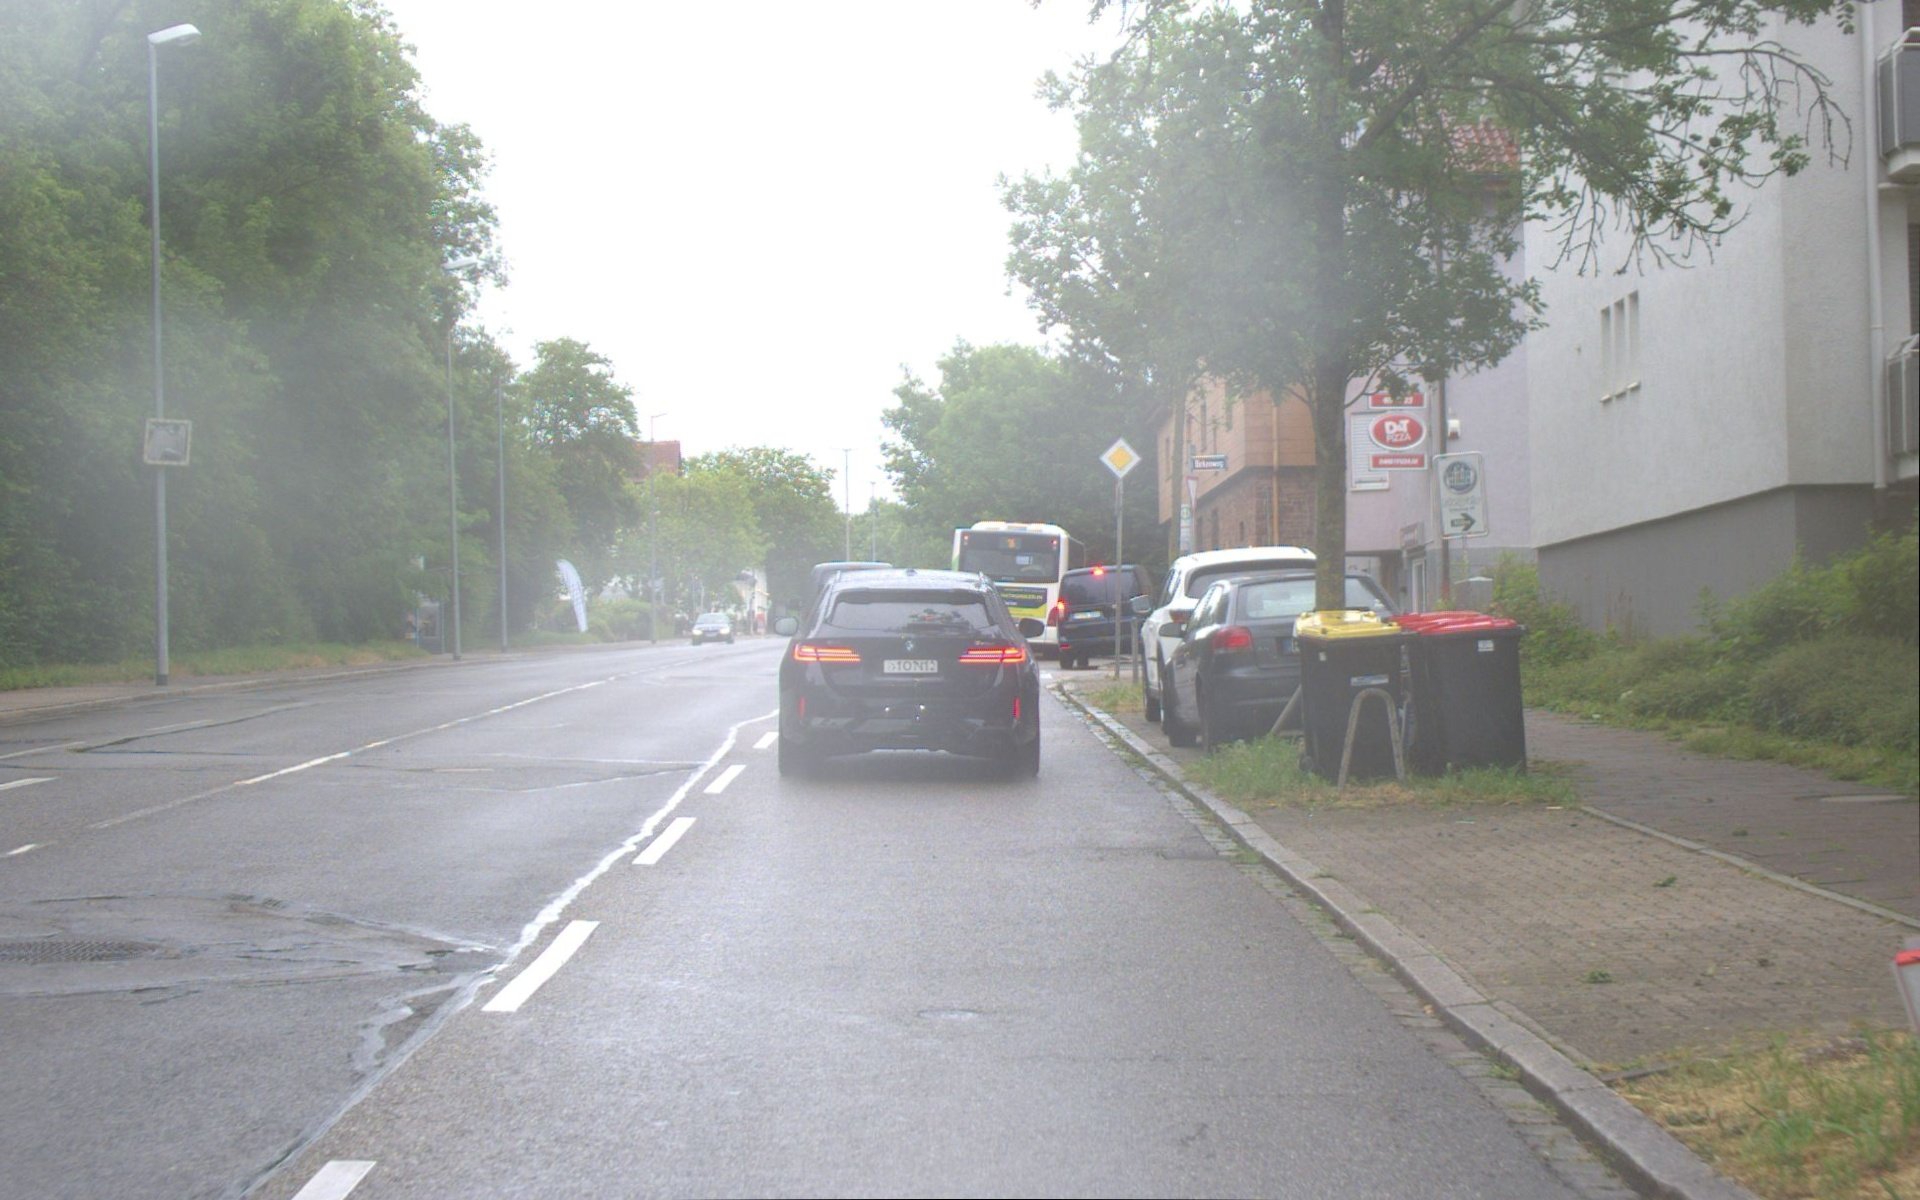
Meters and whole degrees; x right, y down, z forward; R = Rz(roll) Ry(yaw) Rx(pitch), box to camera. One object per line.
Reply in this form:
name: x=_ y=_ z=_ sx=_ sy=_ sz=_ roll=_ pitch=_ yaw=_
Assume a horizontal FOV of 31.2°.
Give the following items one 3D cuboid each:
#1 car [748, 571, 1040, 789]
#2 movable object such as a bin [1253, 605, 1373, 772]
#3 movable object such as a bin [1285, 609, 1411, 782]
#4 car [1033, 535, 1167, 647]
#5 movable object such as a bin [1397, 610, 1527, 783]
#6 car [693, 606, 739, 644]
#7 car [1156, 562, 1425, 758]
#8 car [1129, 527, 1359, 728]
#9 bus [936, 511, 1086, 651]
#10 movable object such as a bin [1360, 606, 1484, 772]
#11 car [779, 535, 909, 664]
car: x=-0.530 y=0.544 z=25.953 sx=1.993 sy=1.448 sz=4.000 roll=2 pitch=1 yaw=-2
movable object such as a bin: x=2.365 y=0.585 z=23.127 sx=0.619 sy=1.046 sz=0.822 roll=-3 pitch=1 yaw=-3
movable object such as a bin: x=2.502 y=0.610 z=22.229 sx=0.619 sy=1.046 sz=0.822 roll=-3 pitch=1 yaw=-3
car: x=2.679 y=-0.157 z=64.702 sx=1.927 sy=1.886 sz=4.759 roll=-4 pitch=-1 yaw=8
movable object such as a bin: x=3.234 y=0.615 z=22.216 sx=0.619 sy=1.046 sz=0.822 roll=-3 pitch=1 yaw=-3
car: x=-11.011 y=1.117 z=155.230 sx=1.770 sy=1.528 sz=4.000 roll=-2 pitch=1 yaw=-1
car: x=2.617 y=0.441 z=28.001 sx=1.641 sy=1.444 sz=3.999 roll=-1 pitch=0 yaw=-2
car: x=2.676 y=0.211 z=33.308 sx=1.824 sy=1.766 sz=4.541 roll=-2 pitch=1 yaw=0
bus: x=1.218 y=-0.477 z=76.224 sx=2.623 sy=2.838 sz=8.287 roll=-2 pitch=1 yaw=5
movable object such as a bin: x=3.104 y=0.590 z=23.138 sx=0.619 sy=1.046 sz=0.822 roll=-3 pitch=1 yaw=-3
car: x=-1.851 y=-0.024 z=55.978 sx=1.993 sy=2.007 sz=4.000 roll=0 pitch=1 yaw=0
